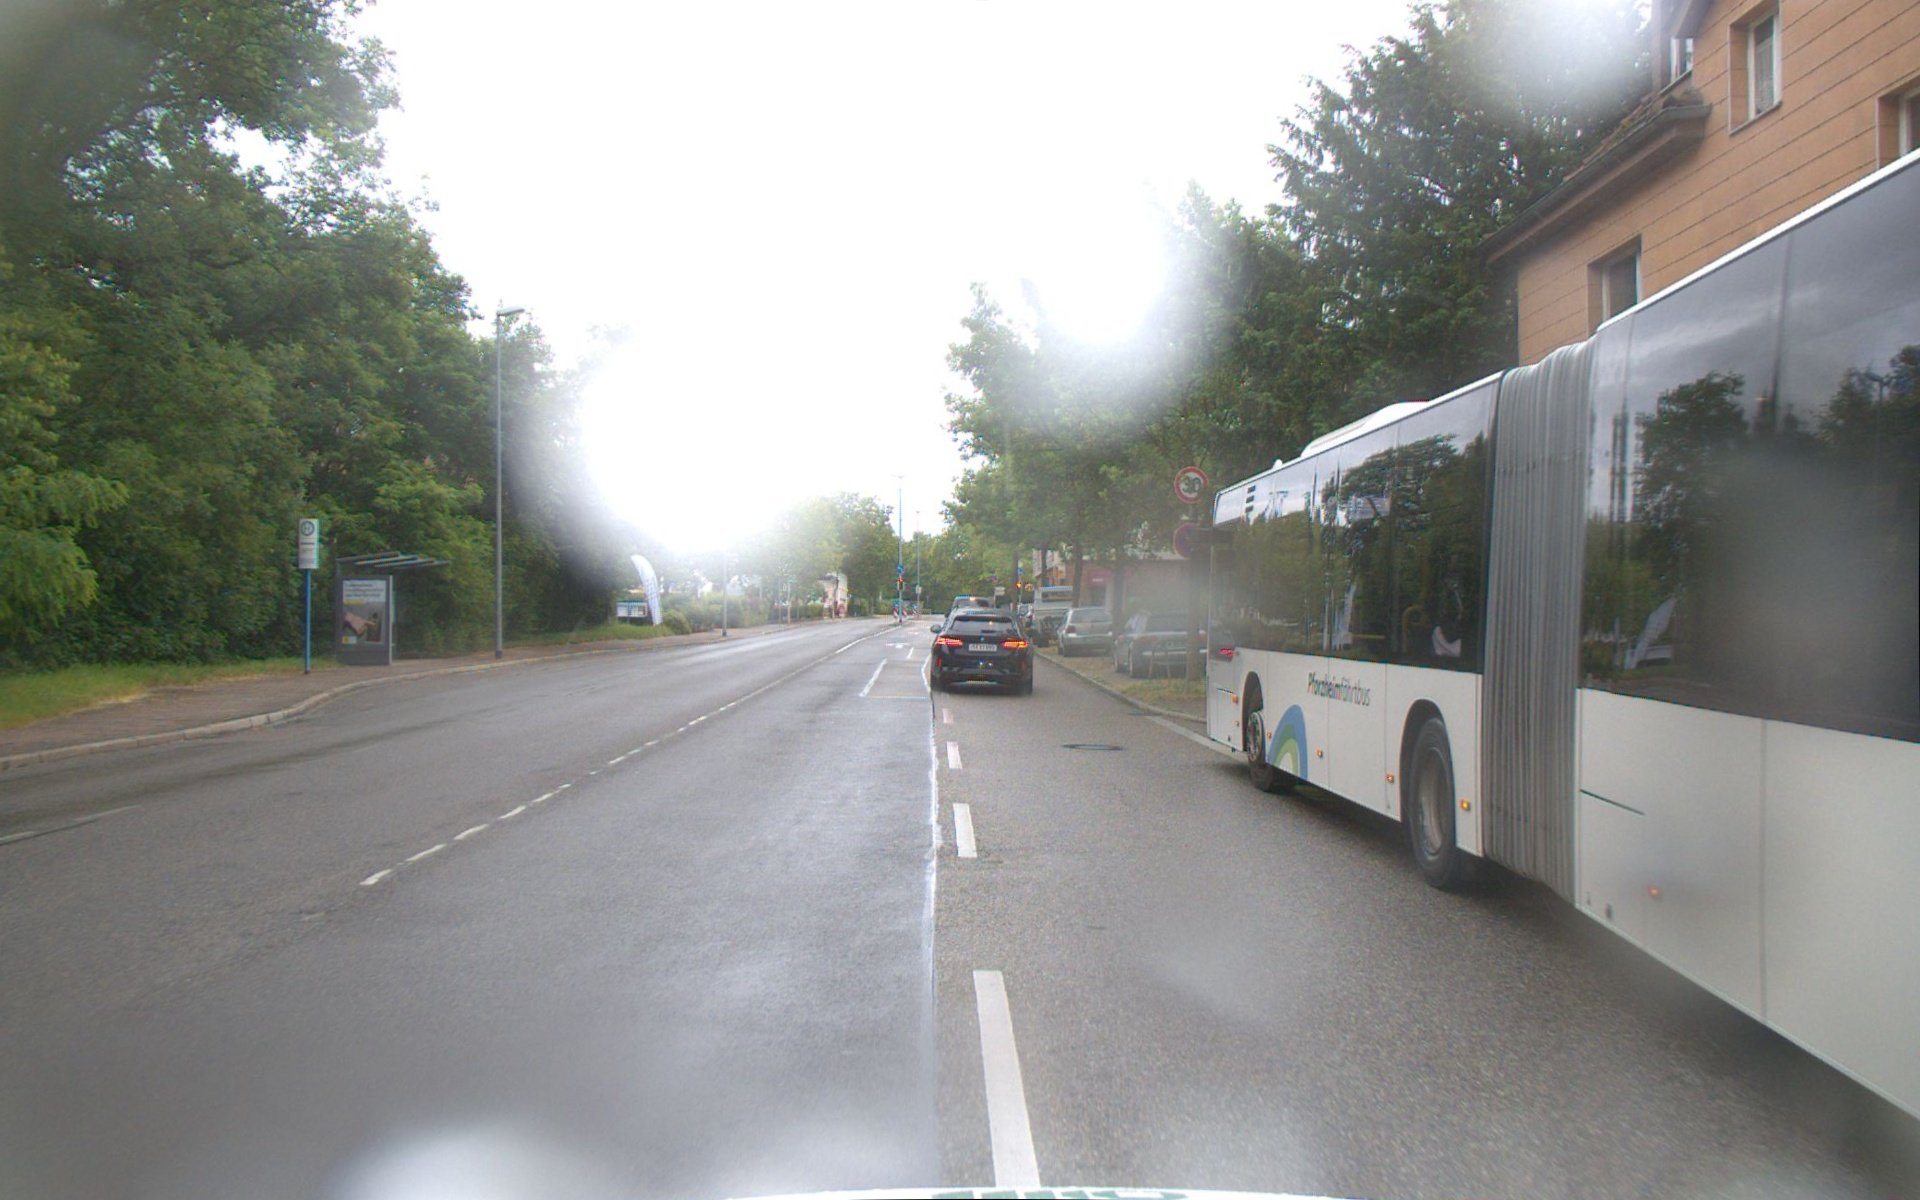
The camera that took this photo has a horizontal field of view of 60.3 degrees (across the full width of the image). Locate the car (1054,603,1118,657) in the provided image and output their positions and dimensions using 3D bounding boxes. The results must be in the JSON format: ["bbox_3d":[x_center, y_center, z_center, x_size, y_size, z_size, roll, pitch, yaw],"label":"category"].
[{"bbox_3d":[3.765,0.885,50.025,1.569,1.461,4.021,-3,0,0],"label":"car"}]

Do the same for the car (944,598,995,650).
[{"bbox_3d":[0.316,0.865,61.385,1.747,1.849,3.999,1,0,-1],"label":"car"}]

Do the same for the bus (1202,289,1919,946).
[{"bbox_3d":[3.828,0.093,12.362,2.504,3.011,9.448,1,0,-1],"label":"bus"}]

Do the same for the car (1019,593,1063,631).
[{"bbox_3d":[3.510,0.512,72.502,1.679,1.525,4.183,-2,0,0],"label":"car"}]

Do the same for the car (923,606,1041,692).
[{"bbox_3d":[0.332,0.882,31.352,2.023,1.472,4.481,1,0,-2],"label":"car"}]

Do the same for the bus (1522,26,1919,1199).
[{"bbox_3d":[3.581,0.086,3.480,2.501,3.011,8.562,1,0,5],"label":"bus"}]

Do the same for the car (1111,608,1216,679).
[{"bbox_3d":[4.415,0.919,36.480,1.654,1.414,4.498,-1,0,-1],"label":"car"}]

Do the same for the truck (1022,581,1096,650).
[{"bbox_3d":[3.508,0.544,59.781,2.038,2.260,6.500,-3,0,-1],"label":"truck"}]

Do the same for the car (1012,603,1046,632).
[{"bbox_3d":[3.645,0.921,87.633,1.552,1.517,3.626,0,0,-2],"label":"car"}]
